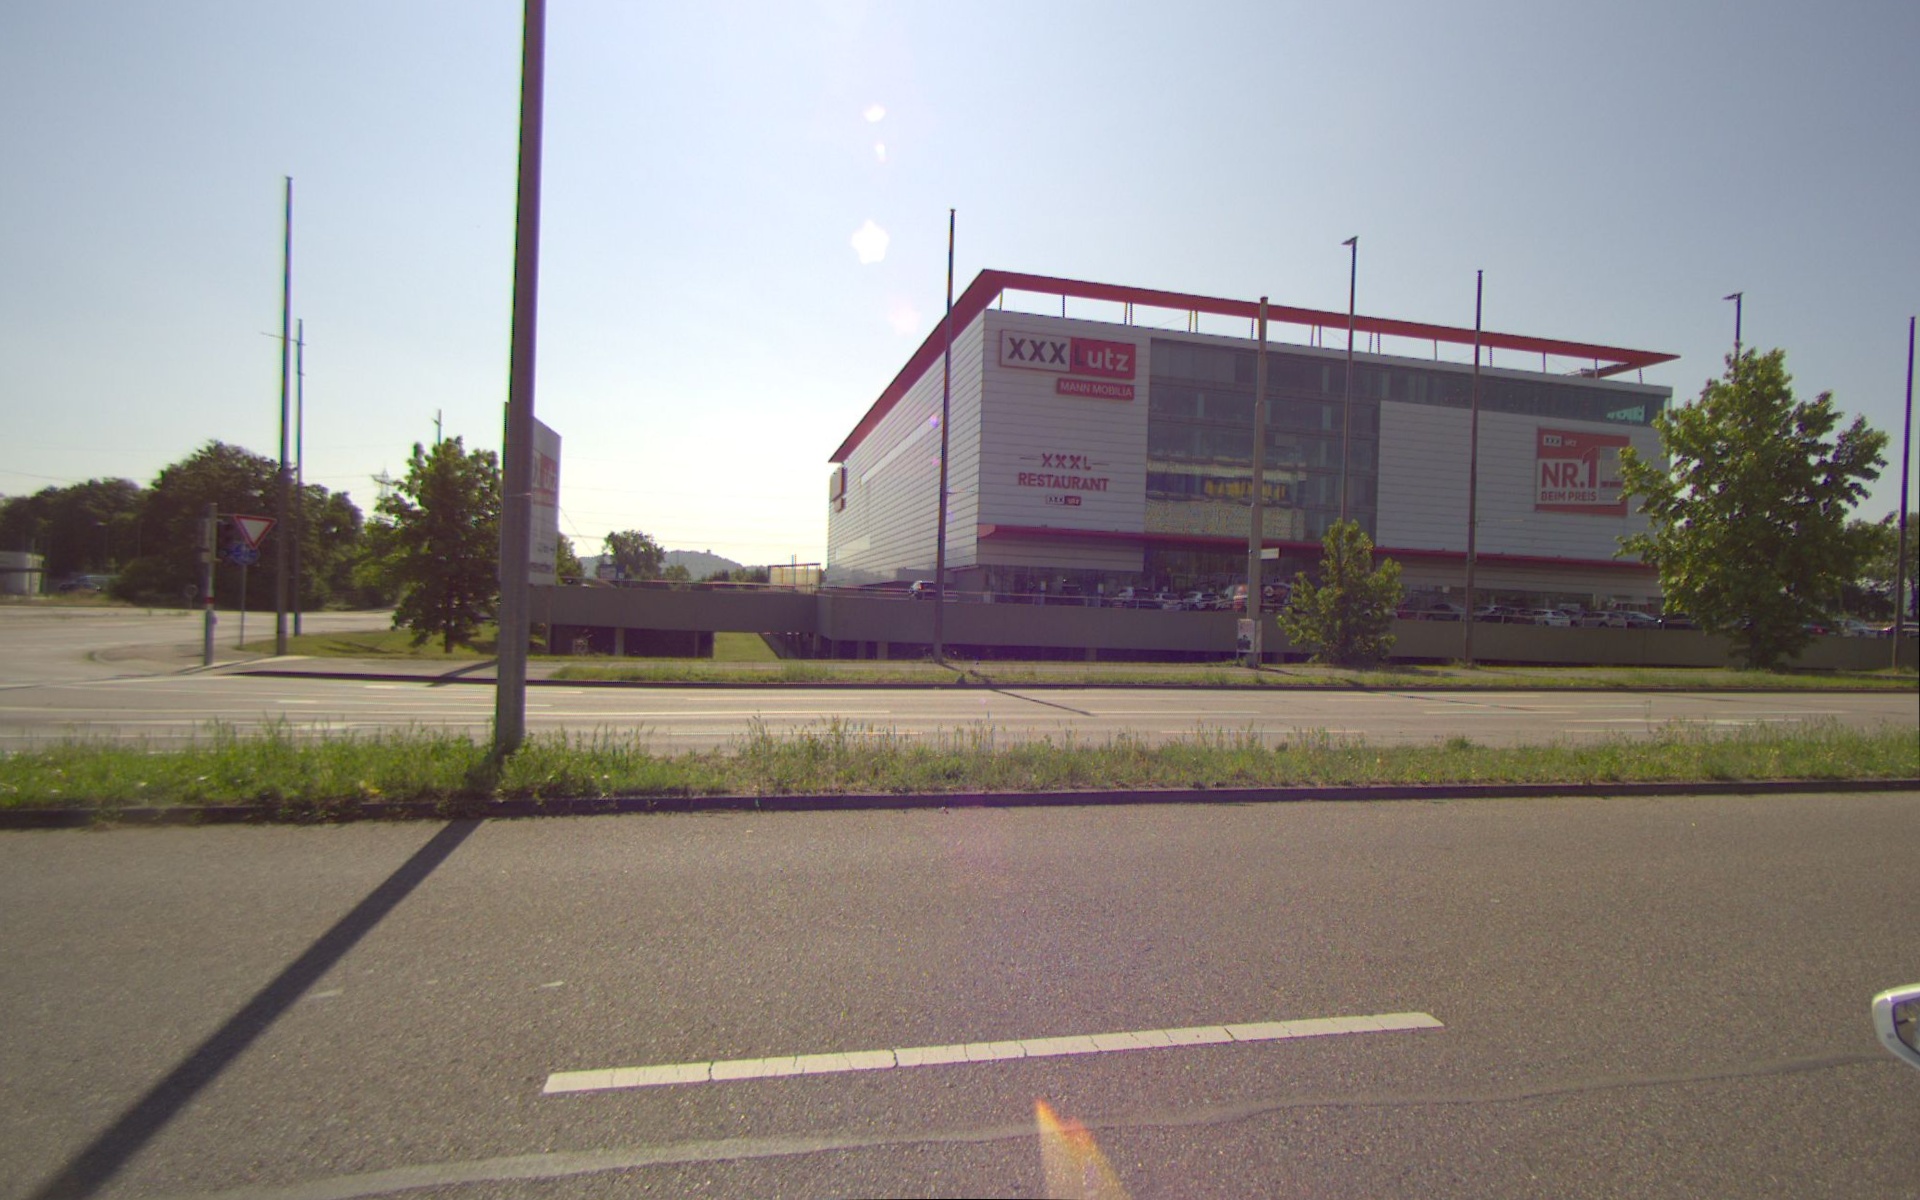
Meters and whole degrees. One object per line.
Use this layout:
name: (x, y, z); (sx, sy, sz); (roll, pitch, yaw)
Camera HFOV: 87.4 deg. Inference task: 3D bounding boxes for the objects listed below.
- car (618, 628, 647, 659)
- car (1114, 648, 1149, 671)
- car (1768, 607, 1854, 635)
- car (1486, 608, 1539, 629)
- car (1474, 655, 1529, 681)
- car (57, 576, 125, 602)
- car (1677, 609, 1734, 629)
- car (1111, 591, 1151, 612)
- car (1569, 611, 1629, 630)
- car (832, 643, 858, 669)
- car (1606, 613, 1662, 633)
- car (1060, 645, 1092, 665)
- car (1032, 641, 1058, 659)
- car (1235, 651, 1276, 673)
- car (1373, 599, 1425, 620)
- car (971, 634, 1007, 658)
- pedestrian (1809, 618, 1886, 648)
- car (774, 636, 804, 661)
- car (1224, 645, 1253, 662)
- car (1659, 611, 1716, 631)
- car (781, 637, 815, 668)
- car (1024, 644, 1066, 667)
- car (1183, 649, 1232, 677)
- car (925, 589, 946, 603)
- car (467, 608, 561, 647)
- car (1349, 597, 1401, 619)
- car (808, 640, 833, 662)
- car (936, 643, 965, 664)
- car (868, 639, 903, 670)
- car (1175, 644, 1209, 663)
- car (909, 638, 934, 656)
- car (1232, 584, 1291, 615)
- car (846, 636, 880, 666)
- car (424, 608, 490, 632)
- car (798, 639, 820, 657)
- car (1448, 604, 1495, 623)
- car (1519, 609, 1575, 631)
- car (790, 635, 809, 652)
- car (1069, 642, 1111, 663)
car: (-11.470, 1.510, 35.221); (0.875, 0.988, 1.936); (2, 0, -17)
car: (8.295, 2.860, 48.622); (0.896, 0.988, 1.936); (2, 0, -17)
car: (35.100, 0.863, 41.469); (1.054, 1.073, 2.512); (2, 0, -17)
car: (38.355, 1.283, 69.793); (1.491, 1.347, 3.088); (2, 0, -15)
car: (23.801, 3.000, 44.225); (1.054, 0.988, 1.936); (2, 0, -17)
car: (-87.365, -1.111, 101.067); (5.007, 2.365, 1.977); (3, 0, -40)
car: (54.530, 1.384, 73.545); (1.491, 1.347, 3.088); (2, 0, -15)
car: (11.505, 0.108, 67.709); (1.491, 1.347, 3.011); (2, 0, -15)
car: (45.090, 1.440, 70.996); (1.456, 1.214, 3.499); (2, 0, -15)
car: (-4.983, 2.391, 43.371); (0.872, 0.988, 1.938); (2, 0, -14)
car: (47.966, 1.628, 71.564); (1.491, 1.347, 3.088); (2, 0, -15)
car: (6.474, 3.083, 56.263); (1.054, 0.988, 1.936); (2, 0, -17)
car: (5.246, 3.081, 62.122); (0.945, 0.988, 1.936); (2, 0, -17)
car: (14.717, 3.083, 50.135); (1.054, 0.988, 1.936); (2, 0, -17)
car: (29.489, 0.642, 67.522); (1.491, 1.347, 3.214); (2, 0, -15)
car: (1.334, 2.148, 46.663); (1.054, 0.988, 1.936); (2, 0, -17)
pedestrian: (68.591, 2.532, 77.672); (3.920, 2.040, 2.001); (2, 0, 16)
car: (-7.306, 2.042, 42.840); (1.053, 0.988, 1.937); (1, -1, -16)
car: (18.493, 3.562, 66.707); (0.907, 0.988, 1.936); (2, 0, -17)
car: (52.602, 1.529, 72.695); (1.490, 1.311, 3.088); (2, 0, -15)
car: (-5.936, 1.904, 36.759); (1.053, 1.021, 1.938); (1, -1, -13)
car: (3.292, 2.154, 39.032); (0.892, 0.743, 2.080); (2, 0, -17)
car: (10.016, 2.551, 40.756); (1.054, 0.988, 1.936); (2, 0, -17)
car: (-1.821, -0.294, 74.129); (1.054, 0.988, 1.936); (2, 0, -17)
car: (-22.359, 1.379, 50.517); (3.931, 1.757, 1.995); (2, 0, -13)
car: (27.247, 0.540, 66.045); (1.491, 1.347, 3.214); (2, 0, -15)
car: (-7.339, 2.679, 52.792); (1.054, 1.053, 1.936); (1, -1, -17)
car: (-0.504, 2.873, 54.396); (1.054, 0.988, 1.936); (2, 0, -17)
car: (-2.418, 1.760, 32.513); (0.779, 0.894, 1.500); (2, 0, -17)
car: (13.375, 3.070, 58.038); (1.054, 0.988, 1.936); (2, 0, -17)
car: (-2.344, 2.839, 61.255); (1.054, 0.988, 1.936); (2, 0, -17)
car: (15.581, -0.013, 51.959); (1.745, 1.577, 2.767); (1, 0, -15)
car: (-3.605, 1.879, 37.191); (0.852, 0.988, 1.841); (2, 0, -17)
car: (-37.748, 1.490, 75.492); (3.923, 1.643, 2.021); (1, 0, -4)
car: (-9.056, 2.864, 60.276); (0.916, 0.988, 1.934); (2, 0, -20)
car: (37.753, 0.971, 74.153); (1.280, 1.347, 3.135); (2, 0, -15)
car: (40.943, 1.379, 70.115); (1.676, 1.347, 3.088); (2, 0, -15)
car: (-10.904, 2.946, 68.210); (1.054, 0.988, 1.936); (2, 0, -17)
car: (4.413, 1.790, 34.296); (0.844, 0.629, 1.558); (2, 0, -17)
